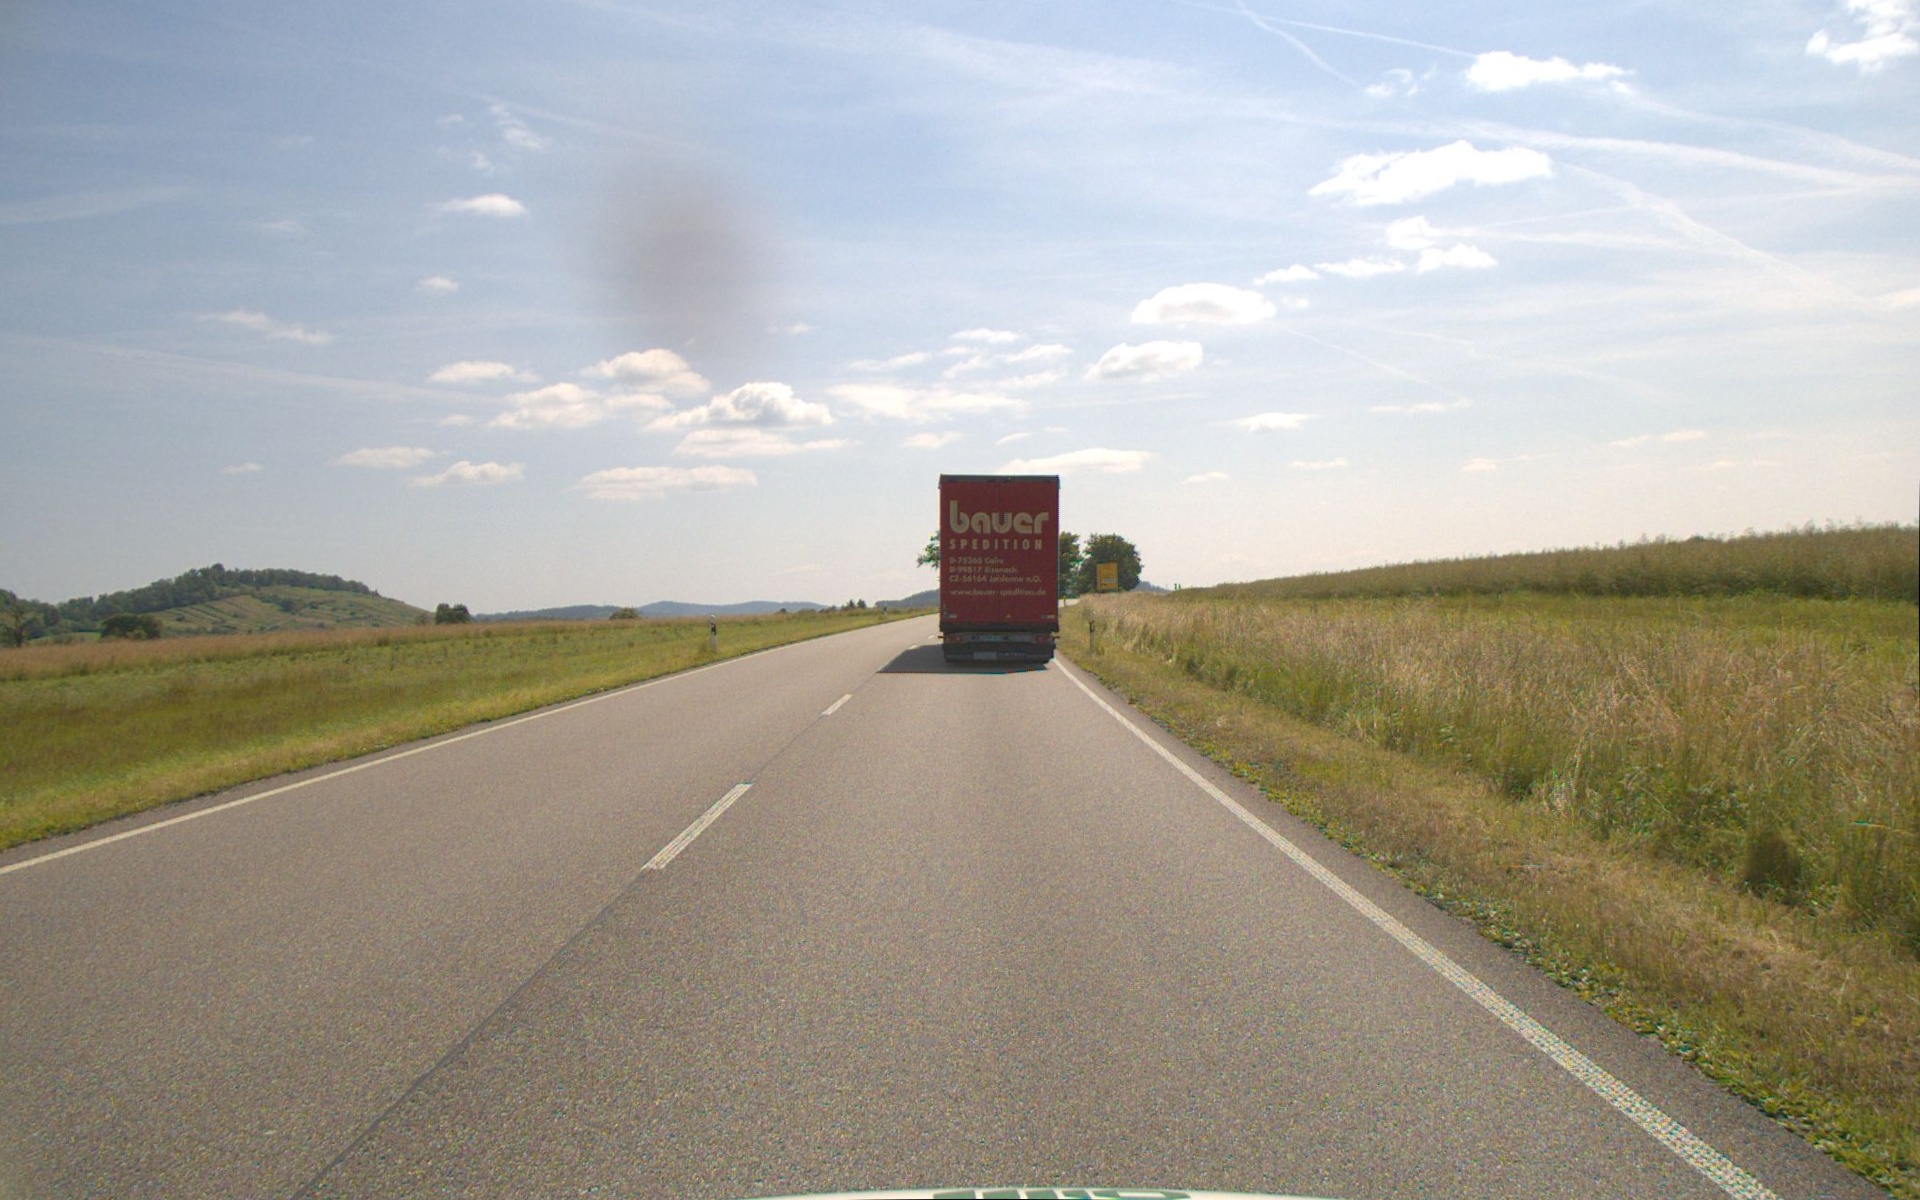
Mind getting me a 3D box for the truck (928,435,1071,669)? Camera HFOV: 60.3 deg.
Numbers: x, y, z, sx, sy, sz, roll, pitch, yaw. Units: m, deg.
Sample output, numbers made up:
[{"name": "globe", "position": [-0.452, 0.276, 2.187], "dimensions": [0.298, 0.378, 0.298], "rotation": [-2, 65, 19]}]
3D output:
[{"name": "truck", "position": [0.892, -1.039, 38.709], "dimensions": [2.914, 4.795, 9.367], "rotation": [0, 1, 1]}]
